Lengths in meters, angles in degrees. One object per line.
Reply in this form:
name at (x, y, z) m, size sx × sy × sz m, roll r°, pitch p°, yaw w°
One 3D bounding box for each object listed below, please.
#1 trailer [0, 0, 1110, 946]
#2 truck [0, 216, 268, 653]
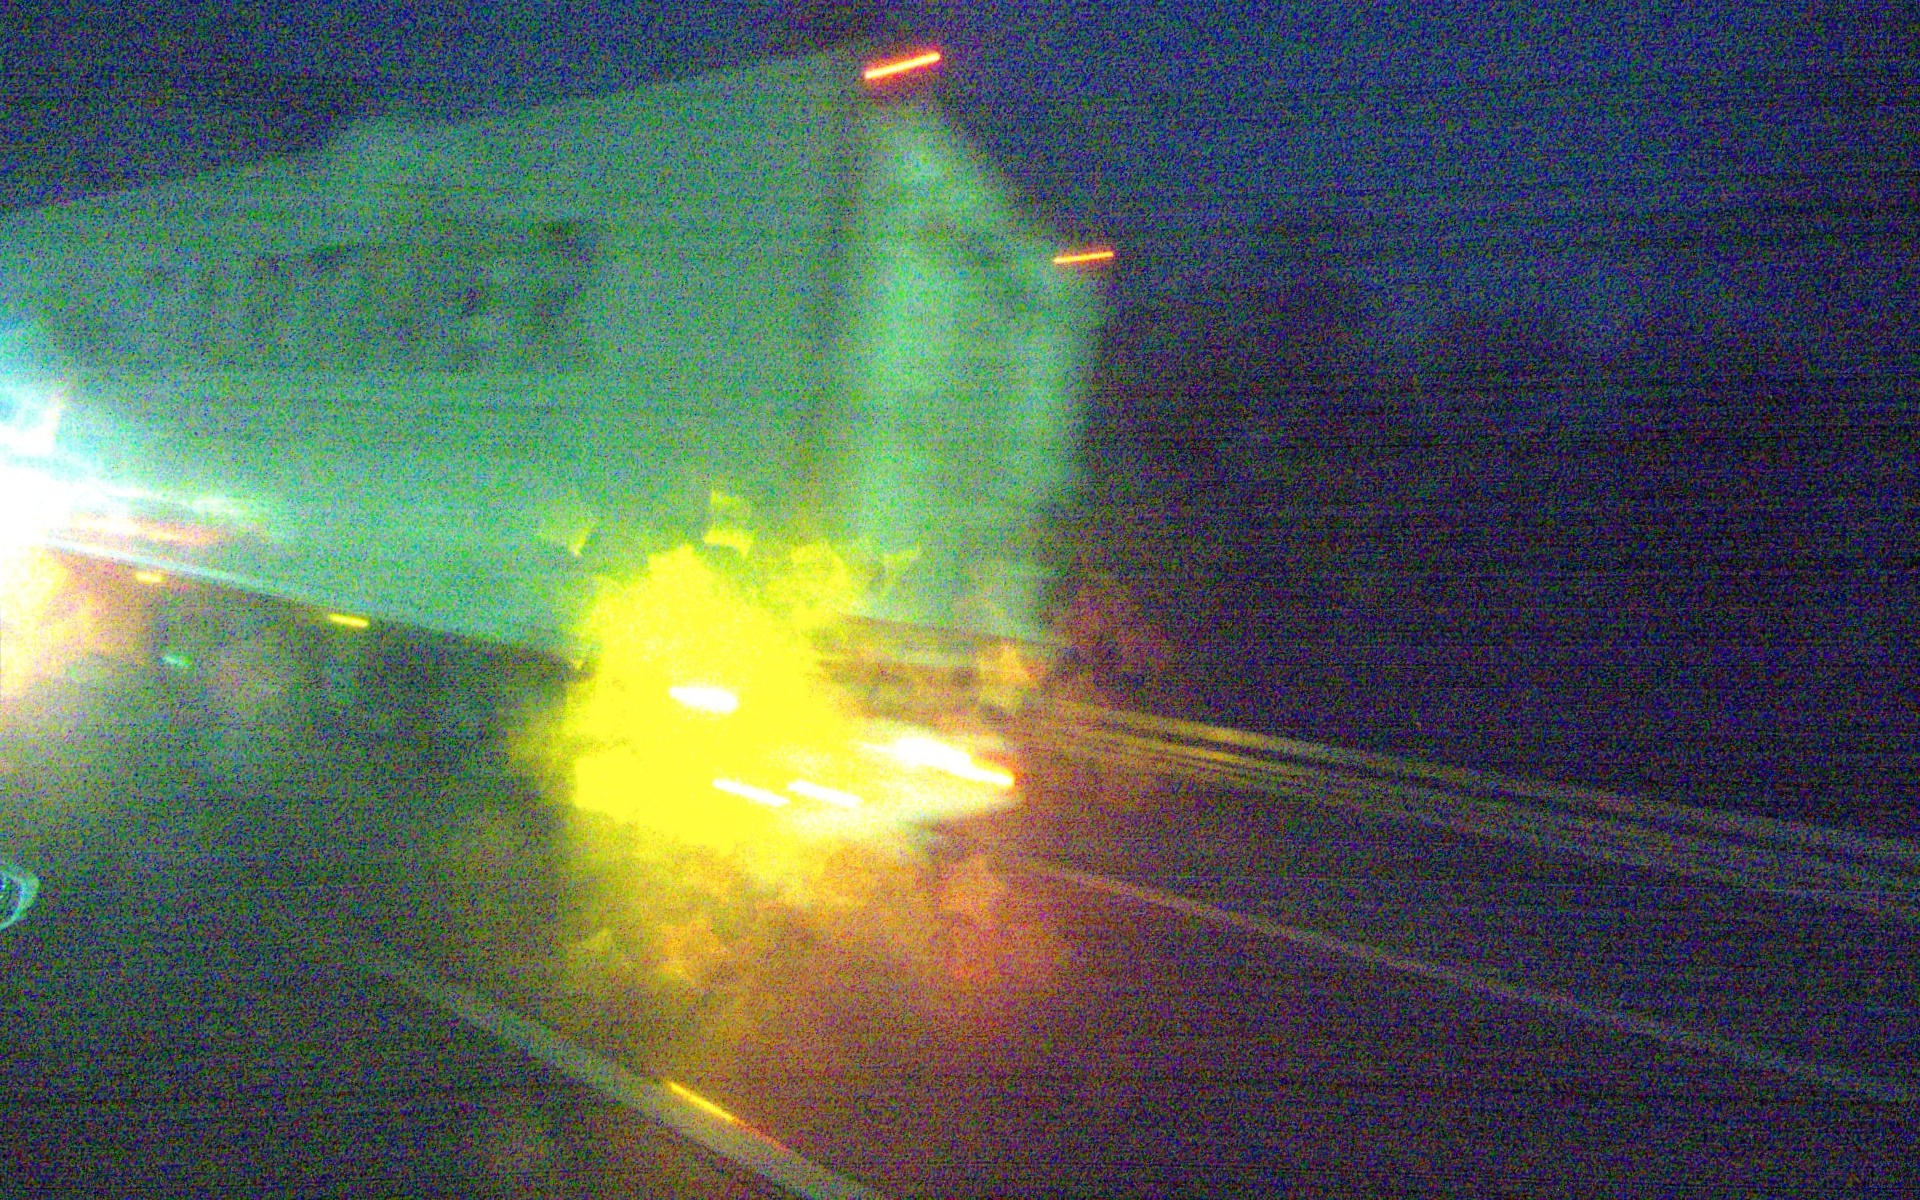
trailer at (-5.606, -1.171, 8.676) m, size 13.144 × 4.295 × 2.747 m, roll 6°, pitch -2°, yaw 30°
truck at (-11.408, -1.858, 12.138) m, size 5.202 × 4.295 × 2.714 m, roll 7°, pitch 1°, yaw 29°
